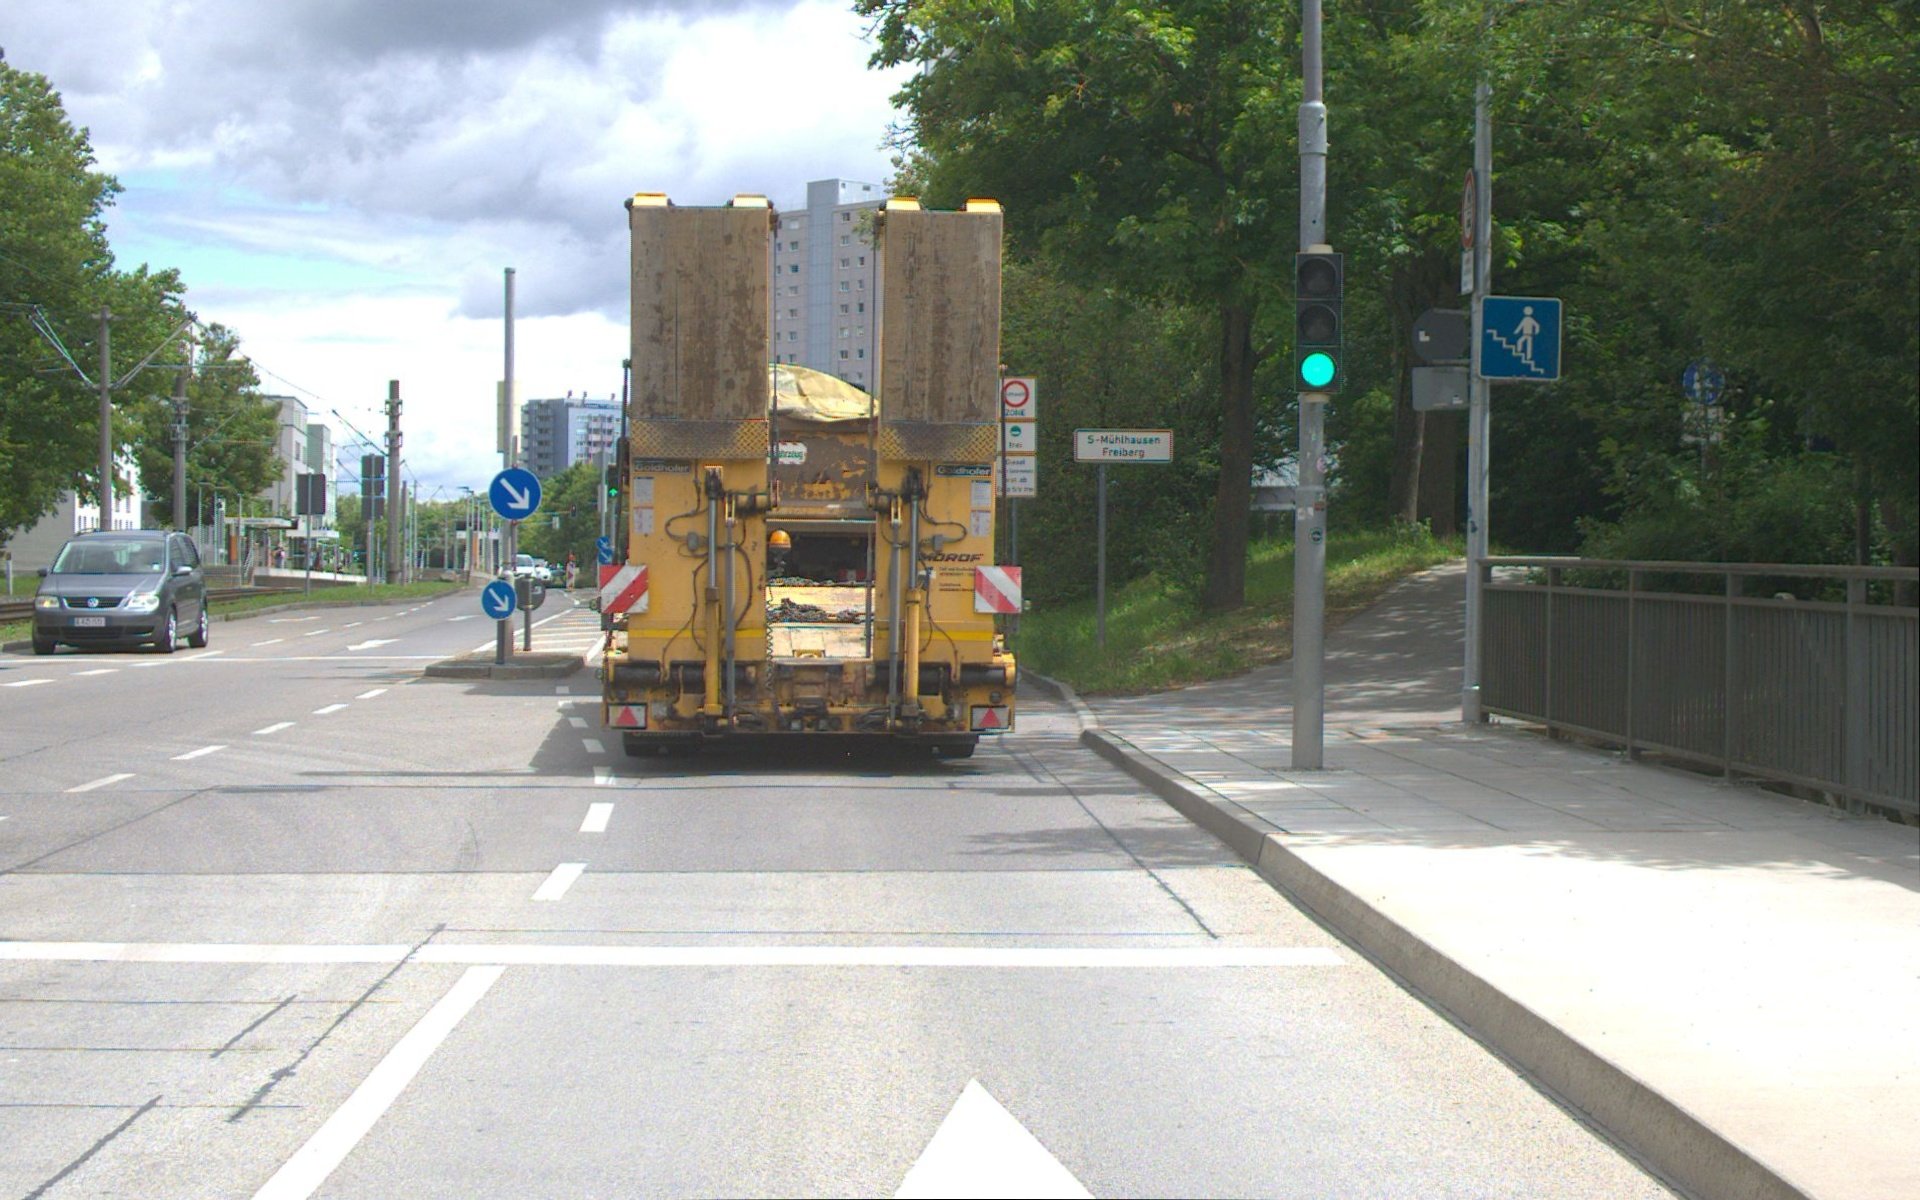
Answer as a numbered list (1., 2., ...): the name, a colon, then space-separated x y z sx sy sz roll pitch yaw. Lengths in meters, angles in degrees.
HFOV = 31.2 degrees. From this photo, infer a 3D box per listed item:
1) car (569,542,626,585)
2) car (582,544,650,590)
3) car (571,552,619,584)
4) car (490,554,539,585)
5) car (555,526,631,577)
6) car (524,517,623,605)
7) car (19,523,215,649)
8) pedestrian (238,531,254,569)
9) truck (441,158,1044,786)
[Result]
1. car: -14.545 -1.478 138.204 1.993 1.612 4.001 3 1 -3
2. car: -11.366 -1.103 113.671 1.993 1.415 4.001 3 1 -3
3. car: -15.120 -1.326 142.445 1.783 1.267 4.346 1 1 -4
4. car: -18.863 -1.283 145.637 1.783 1.267 4.346 1 1 -4
5. car: -11.045 -1.483 103.670 1.993 1.415 4.001 3 1 -3
6. car: -9.028 -0.935 80.631 1.993 1.919 4.001 3 1 -3
7. car: -11.090 -0.209 45.485 1.783 1.564 4.346 1 1 -4
8. pedestrian: -37.820 -2.651 182.100 0.652 2.007 0.653 3 1 2
9. truck: -1.157 -0.857 26.864 3.316 3.638 12.561 2 1 2
